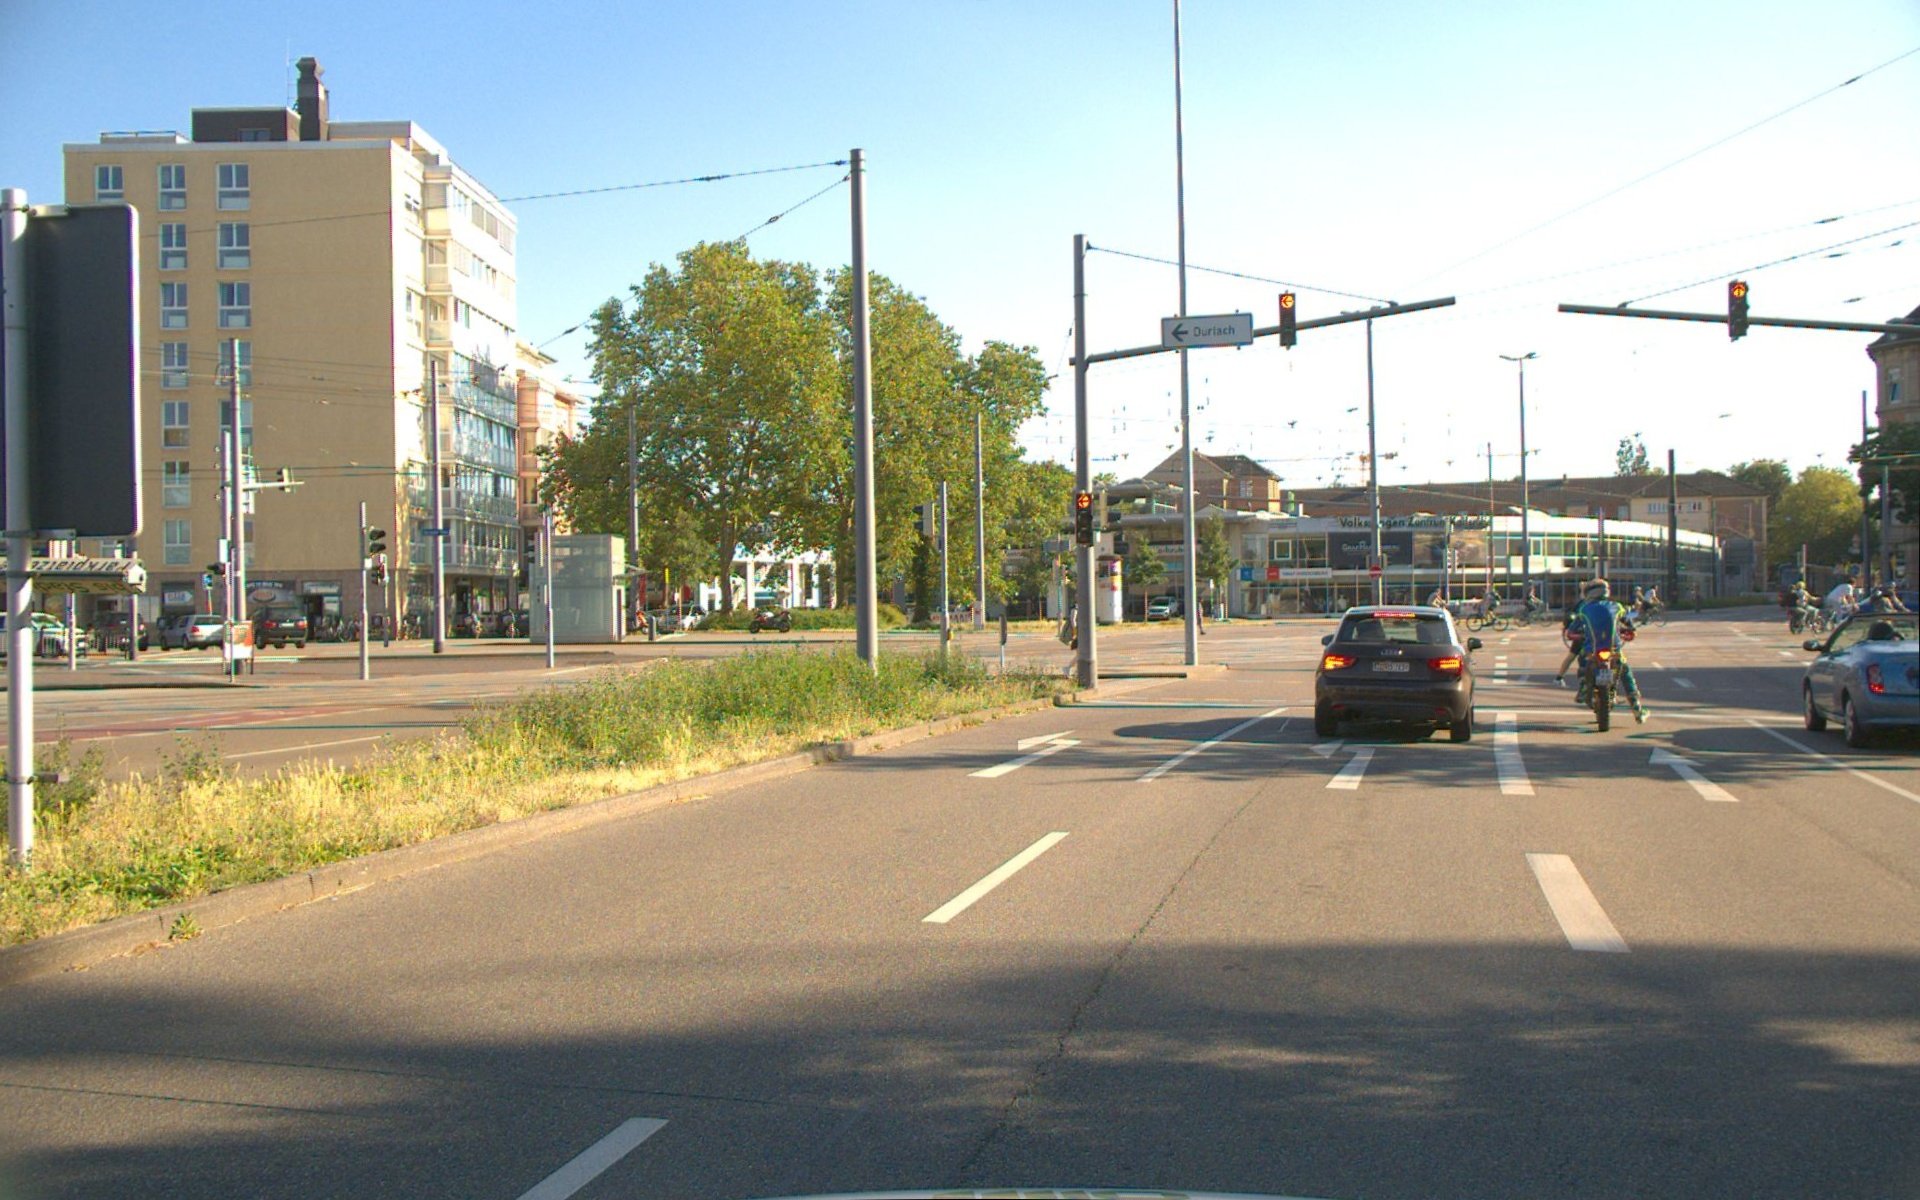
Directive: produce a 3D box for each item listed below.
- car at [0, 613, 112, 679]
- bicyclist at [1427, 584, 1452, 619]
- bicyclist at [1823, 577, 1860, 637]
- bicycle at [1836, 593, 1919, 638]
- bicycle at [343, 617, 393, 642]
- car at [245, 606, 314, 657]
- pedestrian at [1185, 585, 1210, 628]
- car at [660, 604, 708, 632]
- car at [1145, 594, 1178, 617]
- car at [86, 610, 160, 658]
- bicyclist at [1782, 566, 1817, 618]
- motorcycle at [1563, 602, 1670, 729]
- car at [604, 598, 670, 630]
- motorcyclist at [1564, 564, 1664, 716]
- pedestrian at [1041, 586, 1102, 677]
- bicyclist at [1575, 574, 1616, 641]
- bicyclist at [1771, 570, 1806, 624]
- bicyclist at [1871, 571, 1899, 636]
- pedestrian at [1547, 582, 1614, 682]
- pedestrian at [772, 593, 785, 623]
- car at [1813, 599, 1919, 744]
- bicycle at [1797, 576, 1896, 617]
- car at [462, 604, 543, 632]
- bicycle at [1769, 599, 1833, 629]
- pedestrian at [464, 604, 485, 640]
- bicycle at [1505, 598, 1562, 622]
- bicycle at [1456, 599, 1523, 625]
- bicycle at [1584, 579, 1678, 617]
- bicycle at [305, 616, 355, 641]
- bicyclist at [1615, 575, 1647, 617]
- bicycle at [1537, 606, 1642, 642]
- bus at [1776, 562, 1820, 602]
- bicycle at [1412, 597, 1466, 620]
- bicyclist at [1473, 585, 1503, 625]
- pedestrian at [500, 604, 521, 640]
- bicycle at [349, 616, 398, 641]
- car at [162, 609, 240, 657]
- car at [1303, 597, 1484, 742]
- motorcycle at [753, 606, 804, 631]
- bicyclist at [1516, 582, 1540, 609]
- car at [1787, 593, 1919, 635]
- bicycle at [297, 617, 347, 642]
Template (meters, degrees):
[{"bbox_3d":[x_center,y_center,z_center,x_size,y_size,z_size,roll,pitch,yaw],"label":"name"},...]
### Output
[{"bbox_3d":[-30.700,1.533,55.244,3.658,2.048,2.000,-1,2,-1],"label":"car"},{"bbox_3d":[21.956,0.069,75.792,0.905,1.586,0.860,-1,2,-1],"label":"bicyclist"},{"bbox_3d":[25.772,0.186,48.374,0.636,1.720,0.860,-1,2,1],"label":"bicyclist"},{"bbox_3d":[25.012,0.407,44.599,2.445,1.153,0.859,0,2,29],"label":"bicycle"},{"bbox_3d":[-27.340,1.344,76.442,2.000,1.109,0.777,-1,0,-1],"label":"bicycle"},{"bbox_3d":[-28.212,1.268,68.529,1.832,1.889,3.951,-2,2,-35],"label":"car"},{"bbox_3d":[10.554,0.275,73.510,0.968,1.848,0.921,0,2,17],"label":"pedestrian"},{"bbox_3d":[-15.216,0.969,91.295,1.808,1.477,4.001,0,0,3],"label":"car"},{"bbox_3d":[14.833,0.415,121.576,1.951,1.561,4.004,0,2,13],"label":"car"},{"bbox_3d":[-34.496,1.367,68.145,1.823,1.749,3.941,-2,2,-40],"label":"car"},{"bbox_3d":[28.332,-0.263,55.798,0.642,1.720,0.852,-1,2,-30],"label":"bicyclist"},{"bbox_3d":[7.761,0.731,19.683,1.073,1.401,2.654,0,0,19],"label":"motorcycle"},{"bbox_3d":[-20.432,0.860,104.681,3.923,1.889,1.845,-1,2,-17],"label":"car"},{"bbox_3d":[7.748,0.463,19.641,1.073,1.751,0.937,0,-1,20],"label":"motorcyclist"},{"bbox_3d":[2.066,0.577,30.664,1.069,1.634,0.699,0,2,8],"label":"pedestrian"},{"bbox_3d":[16.691,0.197,43.469,0.730,1.720,0.860,-1,2,-3],"label":"bicyclist"},{"bbox_3d":[27.776,-0.103,55.475,0.576,1.809,0.858,-1,0,-29],"label":"bicyclist"},{"bbox_3d":[24.963,0.078,44.625,0.637,1.720,0.859,0,2,28],"label":"bicyclist"},{"bbox_3d":[10.815,0.547,28.833,0.814,1.701,0.694,-1,0,-21],"label":"pedestrian"},{"bbox_3d":[-12.520,0.575,114.012,0.576,2.049,0.711,-1,0,18],"label":"pedestrian"},{"bbox_3d":[10.743,0.736,18.645,1.765,1.469,3.976,1,0,24],"label":"car"},{"bbox_3d":[25.903,-0.117,48.364,2.442,1.153,0.860,-1,2,0],"label":"bicycle"},{"bbox_3d":[-24.755,0.968,89.634,3.908,1.447,1.812,-1,0,-4],"label":"car"},{"bbox_3d":[28.379,0.452,55.819,2.272,0.921,0.851,-2,2,-31],"label":"bicycle"},{"bbox_3d":[-23.366,1.050,79.641,0.759,1.705,0.783,-1,0,1],"label":"pedestrian"},{"bbox_3d":[25.472,0.426,73.502,2.253,0.976,0.858,-1,2,-9],"label":"bicycle"},{"bbox_3d":[21.441,0.485,67.016,2.387,1.021,0.963,-1,0,3],"label":"bicycle"},{"bbox_3d":[31.098,-0.101,76.692,3.905,1.719,1.139,-1,2,0],"label":"bicycle"},{"bbox_3d":[-29.419,1.348,77.276,2.000,1.109,0.777,-1,0,-1],"label":"bicycle"},{"bbox_3d":[31.113,-0.198,76.728,1.048,1.933,1.123,-1,2,0],"label":"bicyclist"},{"bbox_3d":[16.522,0.630,43.464,2.443,0.889,0.860,-1,2,-3],"label":"bicycle"},{"bbox_3d":[66.192,-1.452,130.491,2.311,2.933,9.556,0,2,32],"label":"bus"},{"bbox_3d":[21.953,0.383,75.796,2.249,0.996,0.860,-1,2,-2],"label":"bicycle"},{"bbox_3d":[21.401,0.215,67.022,0.904,1.587,0.963,-1,0,3],"label":"bicyclist"},{"bbox_3d":[-21.616,1.035,79.532,0.759,1.705,0.783,-1,0,1],"label":"pedestrian"},{"bbox_3d":[-27.395,1.317,77.290,2.000,1.109,0.777,-1,0,-1],"label":"bicycle"},{"bbox_3d":[-31.280,1.321,68.124,1.825,1.778,3.938,-2,2,-42],"label":"car"},{"bbox_3d":[5.097,0.708,19.111,1.763,1.469,3.980,1,0,18],"label":"car"},{"bbox_3d":[-8.398,0.854,76.414,2.236,1.072,0.688,0,2,5],"label":"motorcycle"},{"bbox_3d":[25.236,-0.218,73.453,0.699,1.163,0.836,-1,2,-9],"label":"bicyclist"},{"bbox_3d":[36.644,0.562,67.985,4.505,1.622,1.954,-1,0,19],"label":"car"},{"bbox_3d":[-29.479,1.367,76.399,2.000,1.109,0.777,-1,0,-1],"label":"bicycle"}]
